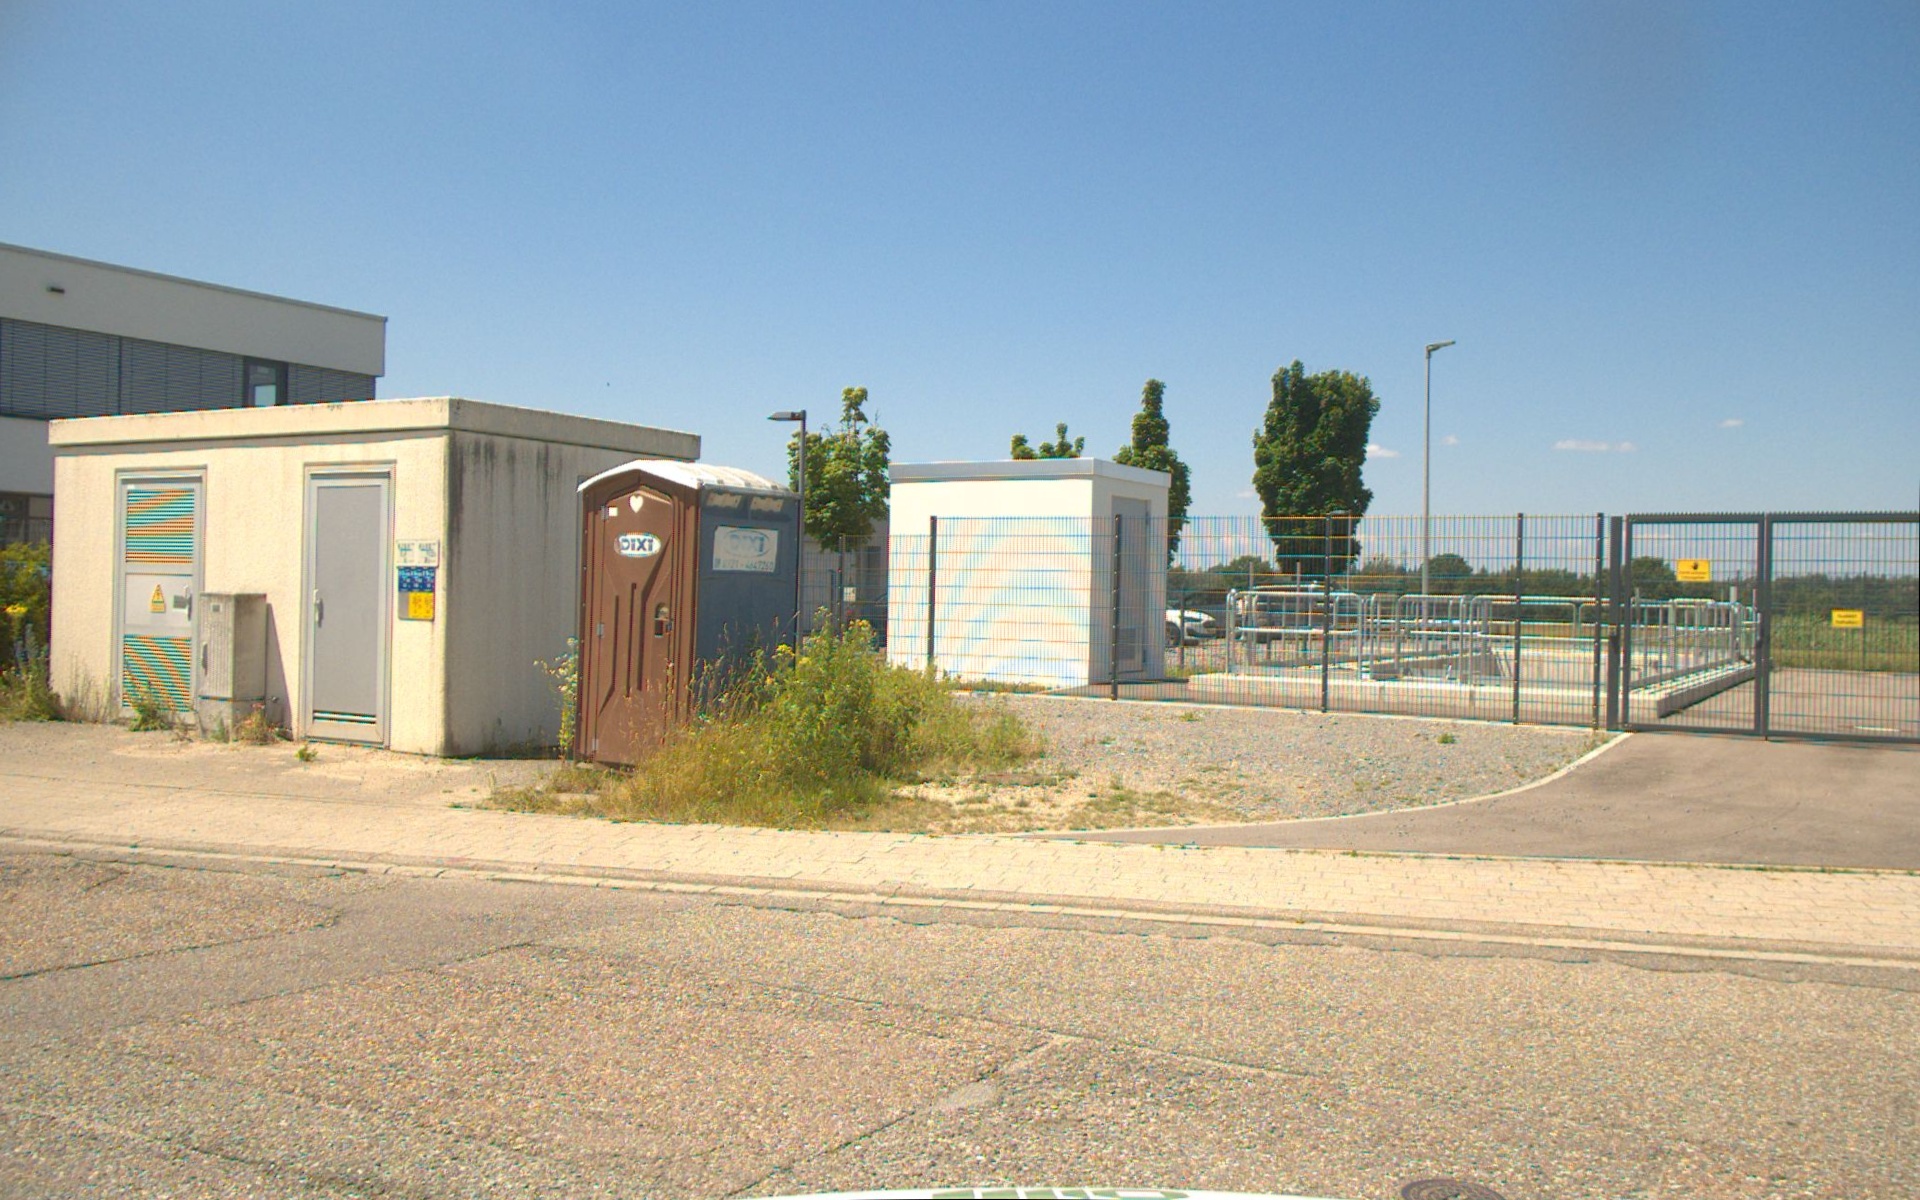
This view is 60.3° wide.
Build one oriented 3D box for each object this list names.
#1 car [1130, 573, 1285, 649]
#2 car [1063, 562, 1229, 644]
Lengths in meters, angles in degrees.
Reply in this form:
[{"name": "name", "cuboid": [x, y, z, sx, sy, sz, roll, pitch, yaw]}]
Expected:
[{"name": "car", "cuboid": [7.097, 0.292, 47.420, 3.915, 2.049, 1.995, 1, 0, 32]}, {"name": "car", "cuboid": [4.938, 0.056, 44.032, 3.915, 2.049, 1.995, 1, 0, 32]}]
